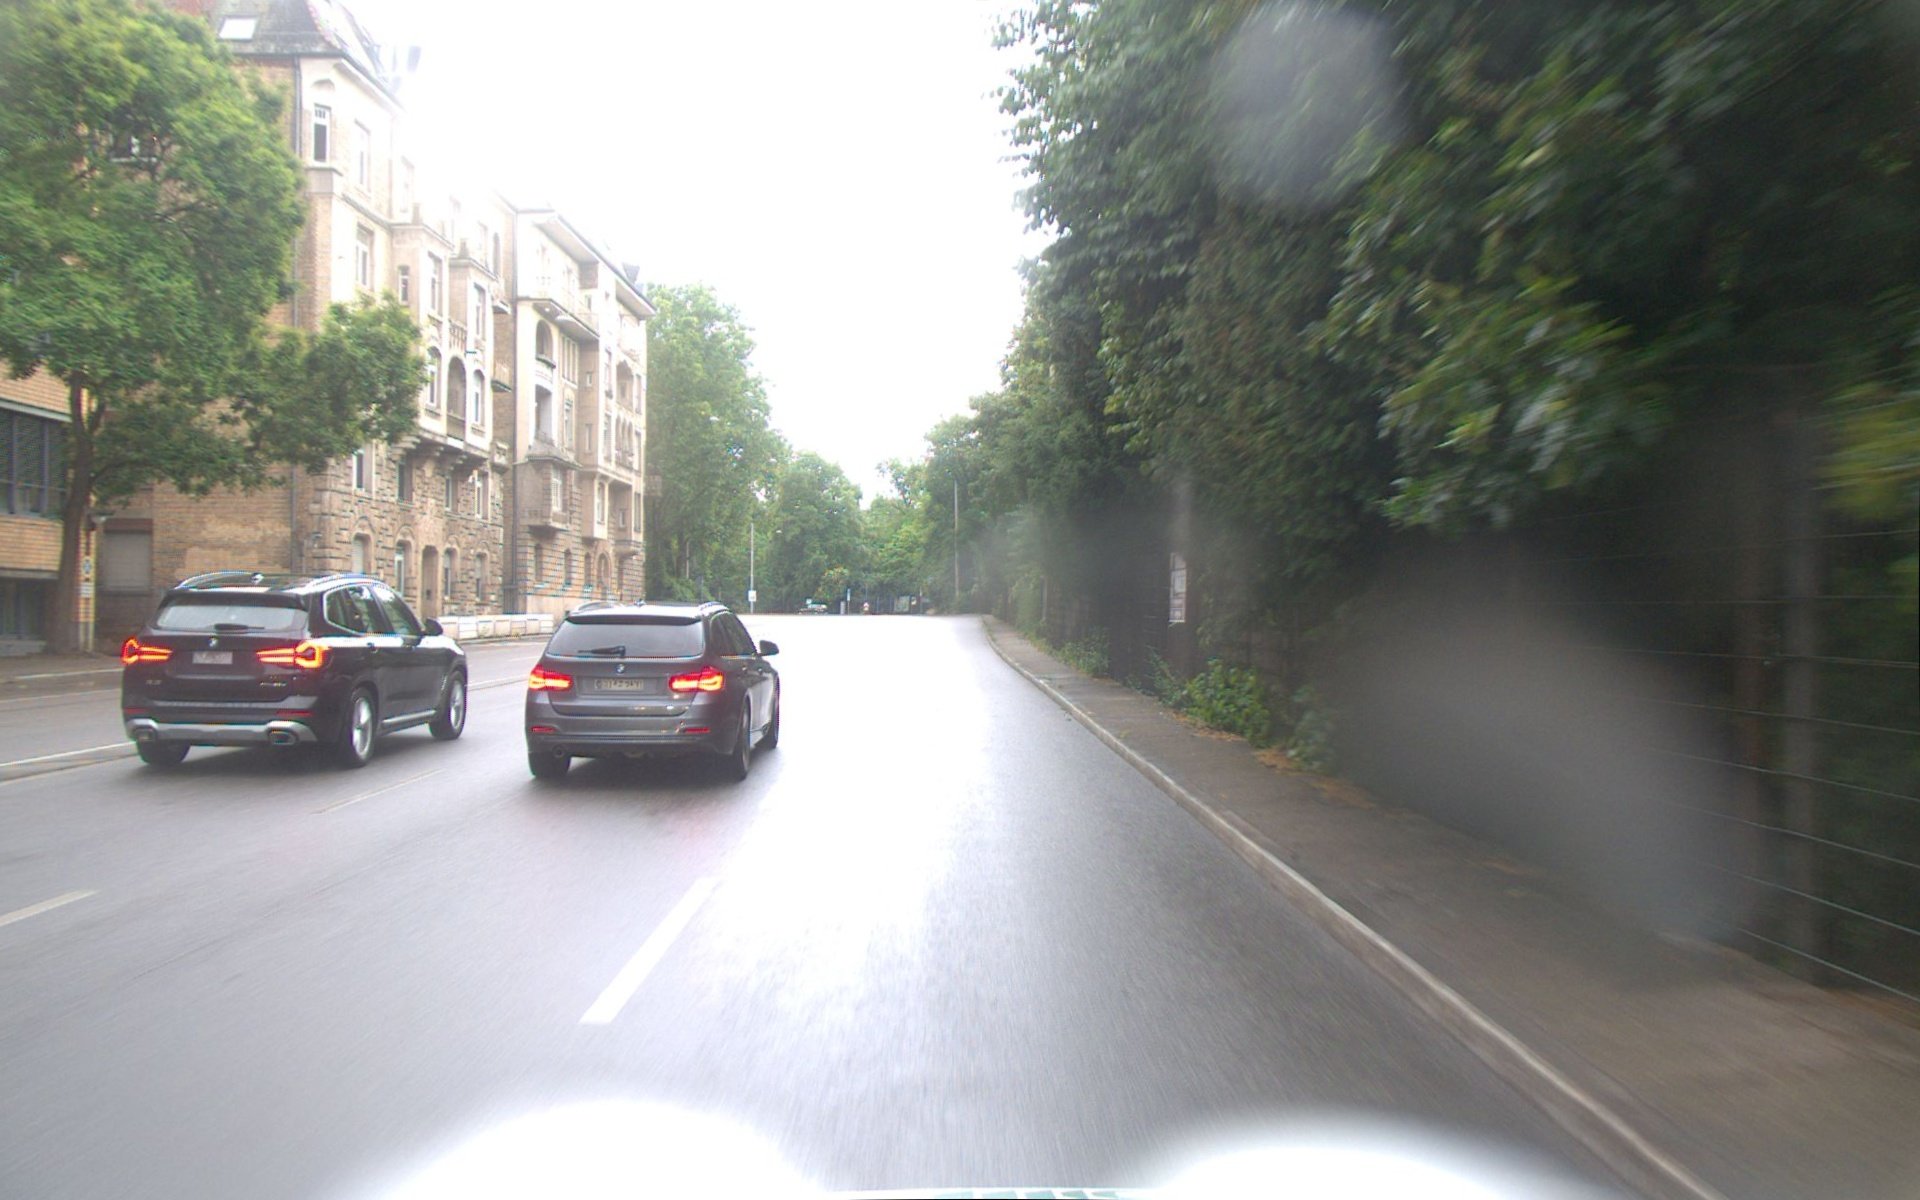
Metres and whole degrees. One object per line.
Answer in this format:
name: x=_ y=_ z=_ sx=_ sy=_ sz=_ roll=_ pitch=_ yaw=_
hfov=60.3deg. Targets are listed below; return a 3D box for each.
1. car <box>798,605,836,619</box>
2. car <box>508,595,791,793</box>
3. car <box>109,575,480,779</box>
car: x=-15.830 y=1.361 z=182.863 sx=4.295 sy=1.452 sz=1.681 roll=0 pitch=-4 yaw=44
car: x=-2.590 y=0.728 z=14.827 sx=1.722 sy=1.457 sz=4.411 roll=2 pitch=0 yaw=-1
car: x=-5.974 y=0.626 z=15.477 sx=1.722 sy=1.614 sz=4.411 roll=1 pitch=0 yaw=-1
